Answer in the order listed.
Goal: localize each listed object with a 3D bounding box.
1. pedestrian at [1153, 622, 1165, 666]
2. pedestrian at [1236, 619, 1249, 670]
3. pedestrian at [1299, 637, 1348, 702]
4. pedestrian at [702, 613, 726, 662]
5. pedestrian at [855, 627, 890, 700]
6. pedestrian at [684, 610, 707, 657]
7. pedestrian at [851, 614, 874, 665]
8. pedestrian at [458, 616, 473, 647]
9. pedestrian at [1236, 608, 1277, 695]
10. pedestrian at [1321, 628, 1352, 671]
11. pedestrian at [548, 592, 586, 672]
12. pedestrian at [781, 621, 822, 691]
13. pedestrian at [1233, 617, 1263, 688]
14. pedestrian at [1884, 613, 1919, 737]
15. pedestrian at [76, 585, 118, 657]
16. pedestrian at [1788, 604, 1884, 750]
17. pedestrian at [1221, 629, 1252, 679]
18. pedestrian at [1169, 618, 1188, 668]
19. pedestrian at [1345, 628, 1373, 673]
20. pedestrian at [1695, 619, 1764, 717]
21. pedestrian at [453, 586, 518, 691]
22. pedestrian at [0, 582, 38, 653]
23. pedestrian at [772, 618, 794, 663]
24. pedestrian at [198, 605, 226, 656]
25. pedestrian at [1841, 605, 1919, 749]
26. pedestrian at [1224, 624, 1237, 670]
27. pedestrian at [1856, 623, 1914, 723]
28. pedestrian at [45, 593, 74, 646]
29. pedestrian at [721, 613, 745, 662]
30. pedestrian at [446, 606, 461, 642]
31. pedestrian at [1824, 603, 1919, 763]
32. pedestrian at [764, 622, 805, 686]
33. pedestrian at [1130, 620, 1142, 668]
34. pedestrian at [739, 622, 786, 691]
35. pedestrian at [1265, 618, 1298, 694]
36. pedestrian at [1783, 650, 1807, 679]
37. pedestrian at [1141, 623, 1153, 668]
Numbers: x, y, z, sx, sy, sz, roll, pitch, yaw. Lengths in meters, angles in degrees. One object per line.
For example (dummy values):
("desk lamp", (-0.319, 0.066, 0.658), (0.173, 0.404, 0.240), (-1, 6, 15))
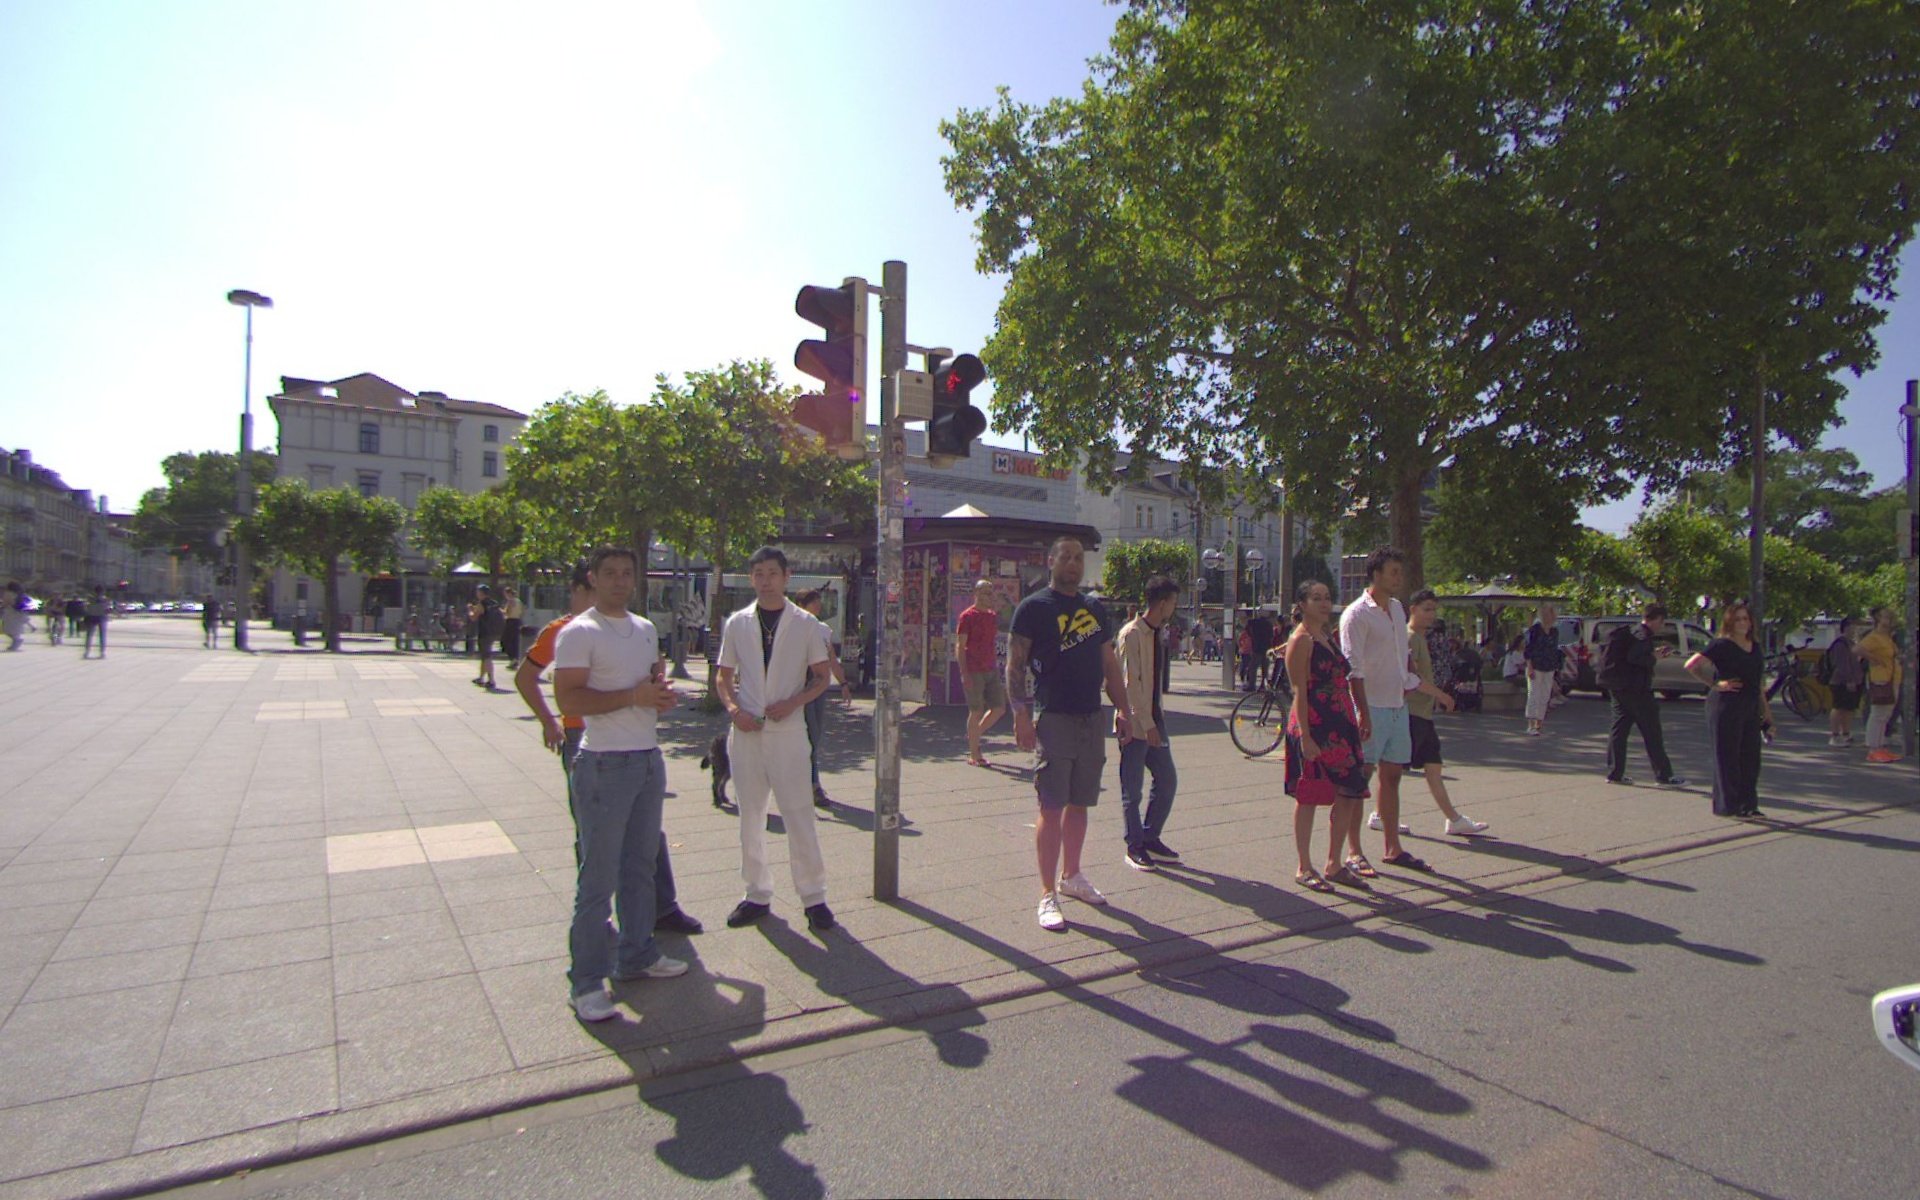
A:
("pedestrian", (7.189, 1.577, 36.217), (0.374, 1.595, 0.415), (1, -1, 9))
("pedestrian", (9.963, 1.558, 35.444), (0.374, 1.772, 0.415), (1, -1, 9))
("pedestrian", (7.583, 1.435, 20.951), (0.718, 1.310, 0.634), (2, -1, -9))
("pedestrian", (-9.168, 1.385, 37.399), (0.594, 1.772, 0.747), (1, -1, 9))
("pedestrian", (-1.581, 1.140, 18.222), (0.599, 1.279, 0.612), (1, -1, -4))
("pedestrian", (-10.073, 1.277, 38.261), (0.594, 1.772, 0.747), (1, -1, 9))
("pedestrian", (-3.487, 1.409, 35.984), (0.594, 1.772, 0.747), (1, -1, 9))
("pedestrian", (-23.664, 1.513, 48.075), (0.435, 1.484, 0.450), (1, -1, 5))
("pedestrian", (6.332, 1.102, 21.470), (0.604, 1.833, 0.634), (2, -3, -10))
("pedestrian", (13.651, 1.796, 36.424), (0.724, 1.534, 0.744), (1, -1, -16))
("pedestrian", (-8.867, 0.730, 22.657), (0.601, 1.772, 0.602), (2, -2, -41))
("pedestrian", (-2.981, 1.040, 18.939), (0.599, 1.279, 0.613), (1, -1, 6))
("pedestrian", (6.686, 1.214, 23.307), (0.489, 1.624, 0.500), (2, -3, -10))
("pedestrian", (14.606, 1.128, 15.205), (0.650, 1.848, 0.619), (2, -1, -1))
("pedestrian", (-19.481, 0.472, 22.675), (0.600, 1.582, 0.796), (2, 0, -35))
("pedestrian", (11.736, 1.015, 13.471), (0.716, 1.883, 0.634), (2, -1, -1))
("pedestrian", (8.670, 1.677, 31.542), (0.598, 1.534, 0.742), (1, -1, -25))
("pedestrian", (7.835, 1.543, 36.030), (0.594, 1.772, 0.573), (1, -1, 9))
("pedestrian", (13.914, 1.749, 35.006), (0.740, 1.534, 0.600), (2, -1, -37))
("pedestrian", (14.460, 1.268, 18.895), (0.751, 1.787, 0.680), (2, -1, -1))
("pedestrian", (-8.318, 0.663, 17.642), (0.788, 1.772, 0.606), (2, 0, 1))
("pedestrian", (-23.980, 0.448, 25.573), (0.600, 1.772, 0.796), (2, 0, -35))
("pedestrian", (-6.999, 1.591, 39.665), (0.594, 1.772, 0.804), (1, -1, 9))
("pedestrian", (-25.154, 1.027, 33.799), (0.598, 1.660, 0.571), (2, 0, -25))
("pedestrian", (12.517, 1.023, 13.536), (0.716, 1.883, 0.634), (2, -1, -1))
("pedestrian", (9.574, 1.646, 35.515), (0.374, 1.595, 0.415), (1, -1, 9))
("pedestrian", (16.714, 1.309, 18.159), (0.670, 1.747, 0.606), (2, -1, -32))
("pedestrian", (-28.676, 0.625, 31.985), (0.566, 1.660, 0.603), (2, 0, 41))
("pedestrian", (-8.390, 1.386, 37.161), (0.594, 1.772, 0.747), (1, -1, 9))
("pedestrian", (-24.251, 1.155, 48.116), (0.435, 1.695, 0.450), (1, -1, 5))
("pedestrian", (10.759, 0.956, 11.772), (0.718, 1.818, 0.634), (2, -1, -9))
("pedestrian", (-3.635, 1.110, 20.853), (0.600, 1.279, 0.611), (1, -1, 15))
("pedestrian", (6.322, 1.573, 36.114), (0.374, 1.693, 0.415), (1, -1, 9))
("pedestrian", (-3.767, 1.059, 19.192), (0.602, 1.279, 0.610), (1, -1, 38))
("pedestrian", (7.210, 1.247, 22.542), (0.516, 1.678, 0.513), (2, -3, -10))
("pedestrian", (39.558, 3.057, 47.599), (0.703, 1.354, 0.651), (2, -1, -29))
("pedestrian", (6.760, 1.635, 36.254), (0.374, 1.595, 0.415), (1, -1, 9))
